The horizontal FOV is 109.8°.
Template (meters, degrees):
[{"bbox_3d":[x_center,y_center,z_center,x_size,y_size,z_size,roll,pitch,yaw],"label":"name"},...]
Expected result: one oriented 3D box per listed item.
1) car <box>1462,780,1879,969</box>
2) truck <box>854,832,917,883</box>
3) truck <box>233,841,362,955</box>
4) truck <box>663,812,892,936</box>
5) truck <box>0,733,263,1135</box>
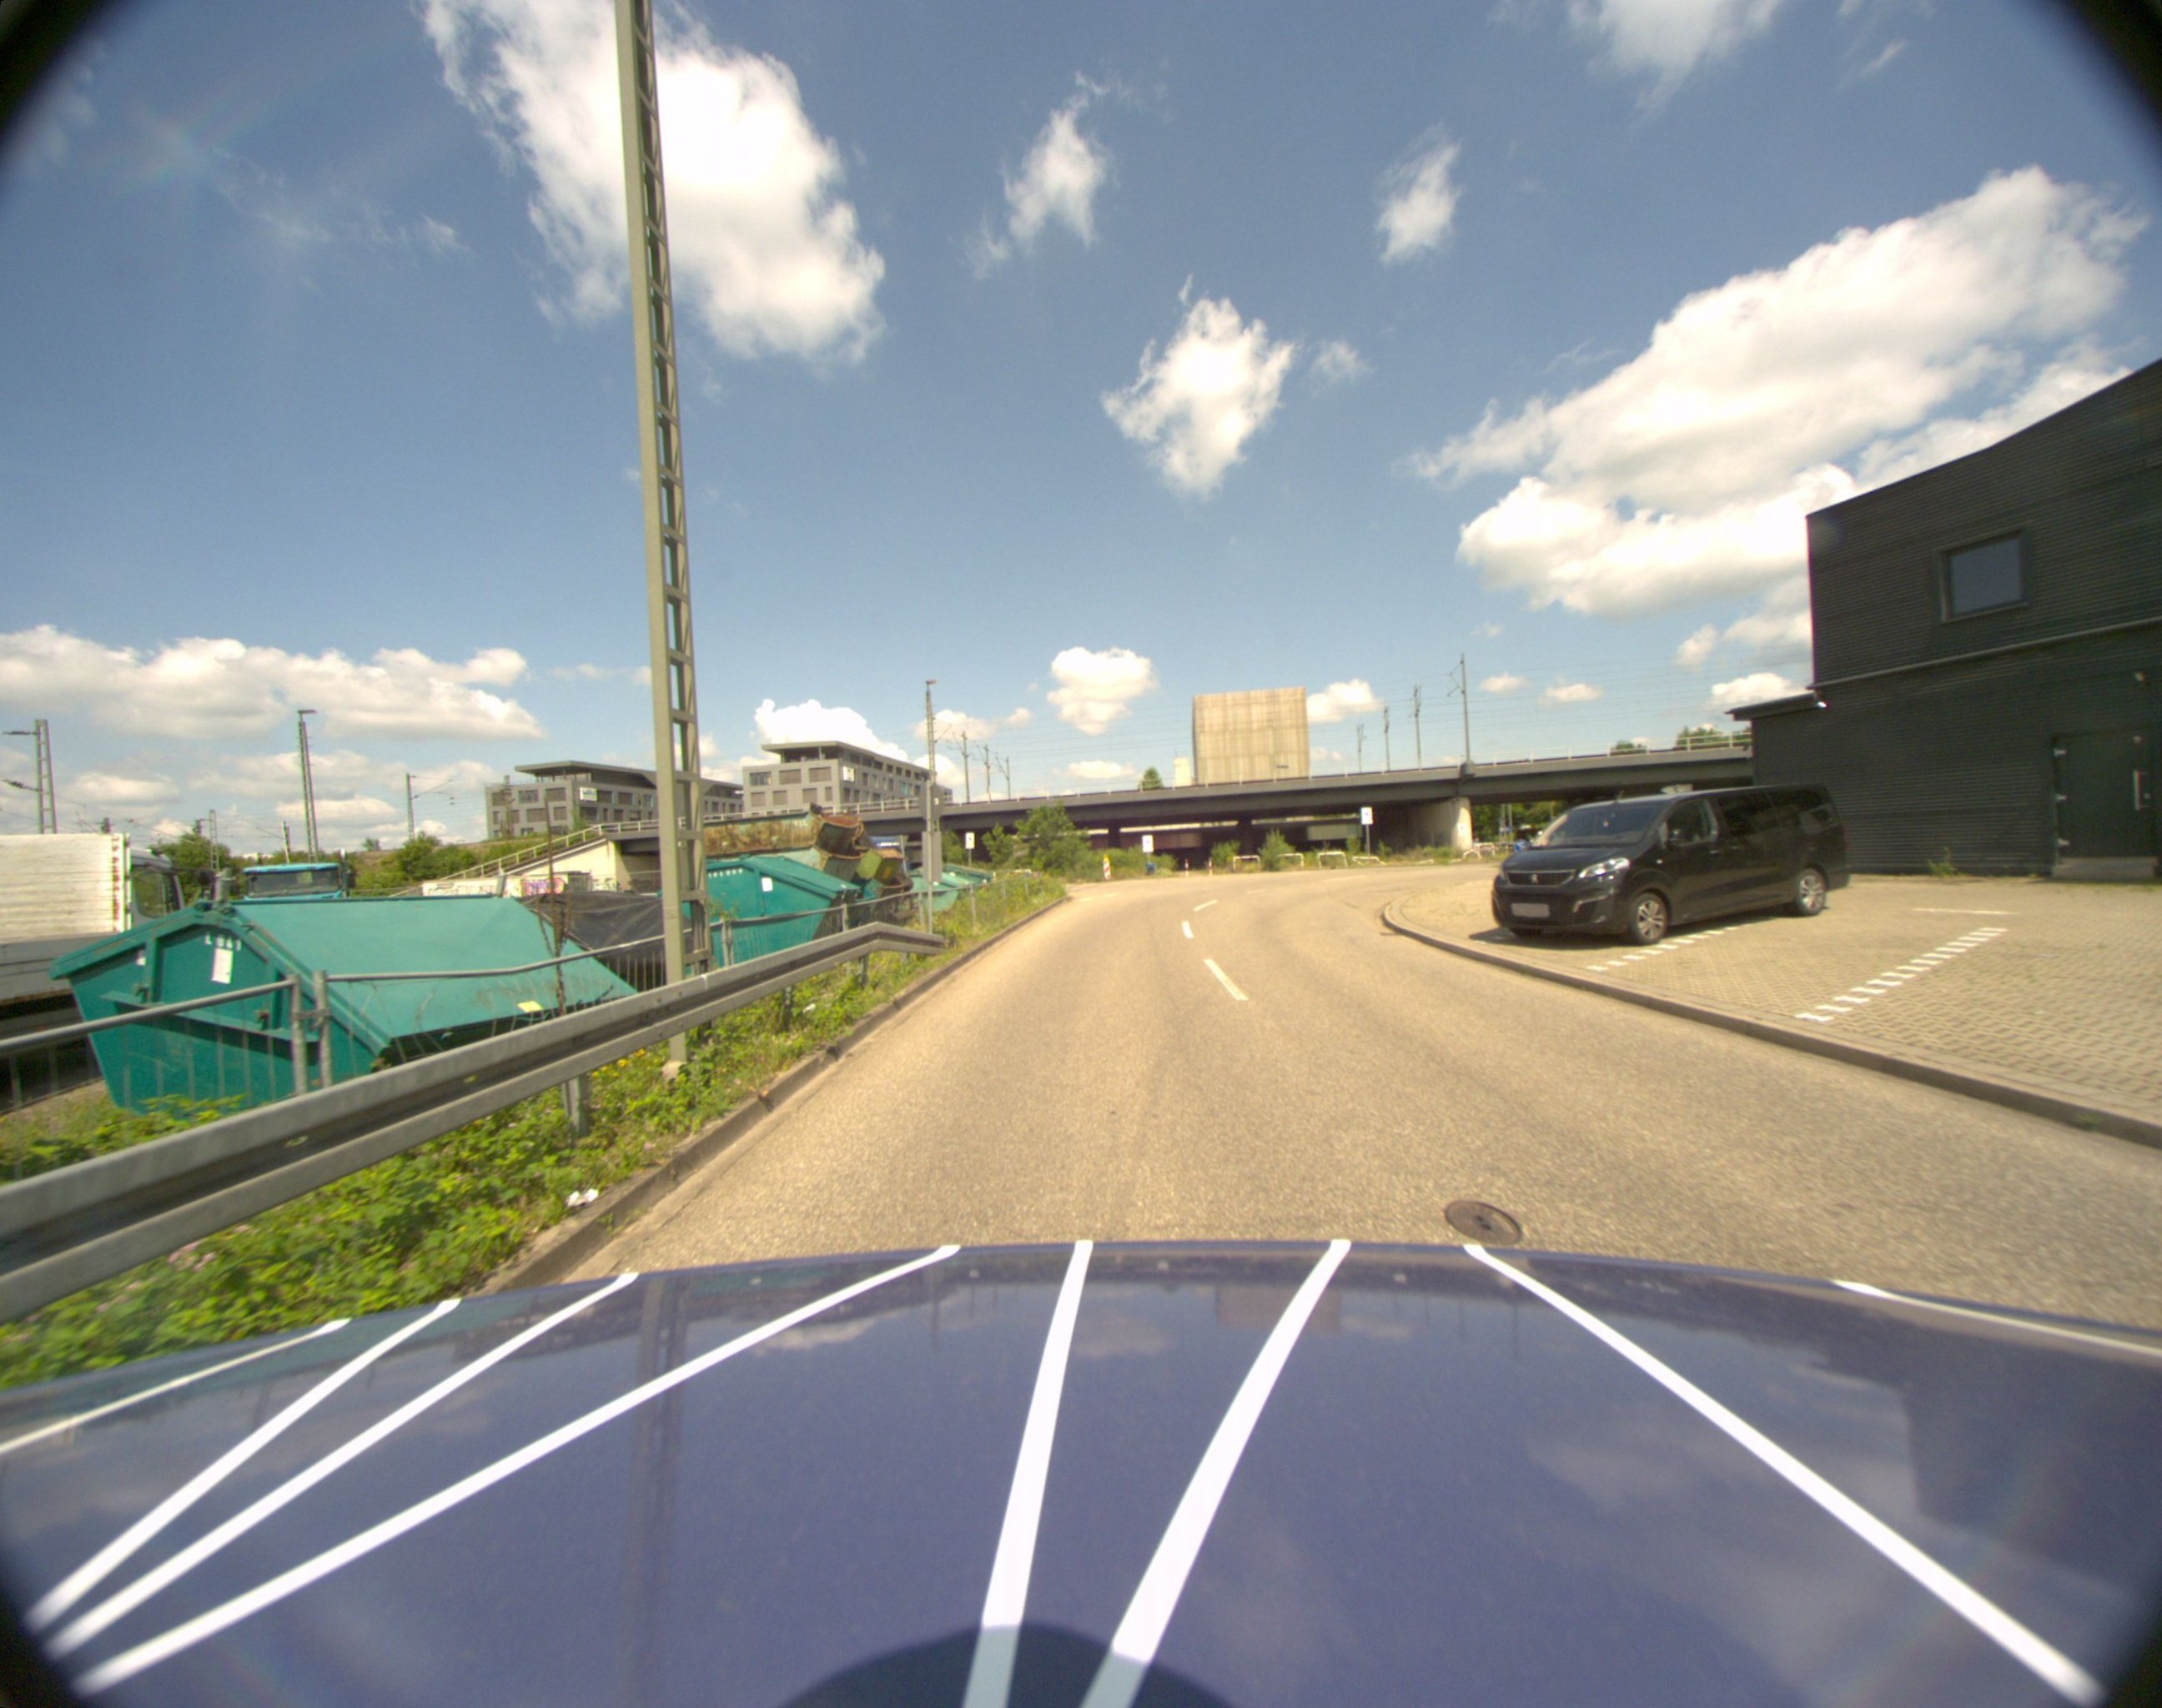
[{"bbox_3d":[8.275,0.171,10.667,5.347,1.905,1.997,-5,1,-20],"label":"car"},{"bbox_3d":[-14.012,0.308,54.006,2.764,3.255,8.184,-3,0,-25],"label":"truck"},{"bbox_3d":[-28.949,1.532,28.349,2.660,3.625,6.870,-6,2,-42],"label":"truck"},{"bbox_3d":[-8.350,0.556,21.160,5.507,3.080,2.001,-2,0,8],"label":"truck"},{"bbox_3d":[-10.525,0.714,5.782,2.999,3.399,8.098,-3,0,-26],"label":"truck"}]
